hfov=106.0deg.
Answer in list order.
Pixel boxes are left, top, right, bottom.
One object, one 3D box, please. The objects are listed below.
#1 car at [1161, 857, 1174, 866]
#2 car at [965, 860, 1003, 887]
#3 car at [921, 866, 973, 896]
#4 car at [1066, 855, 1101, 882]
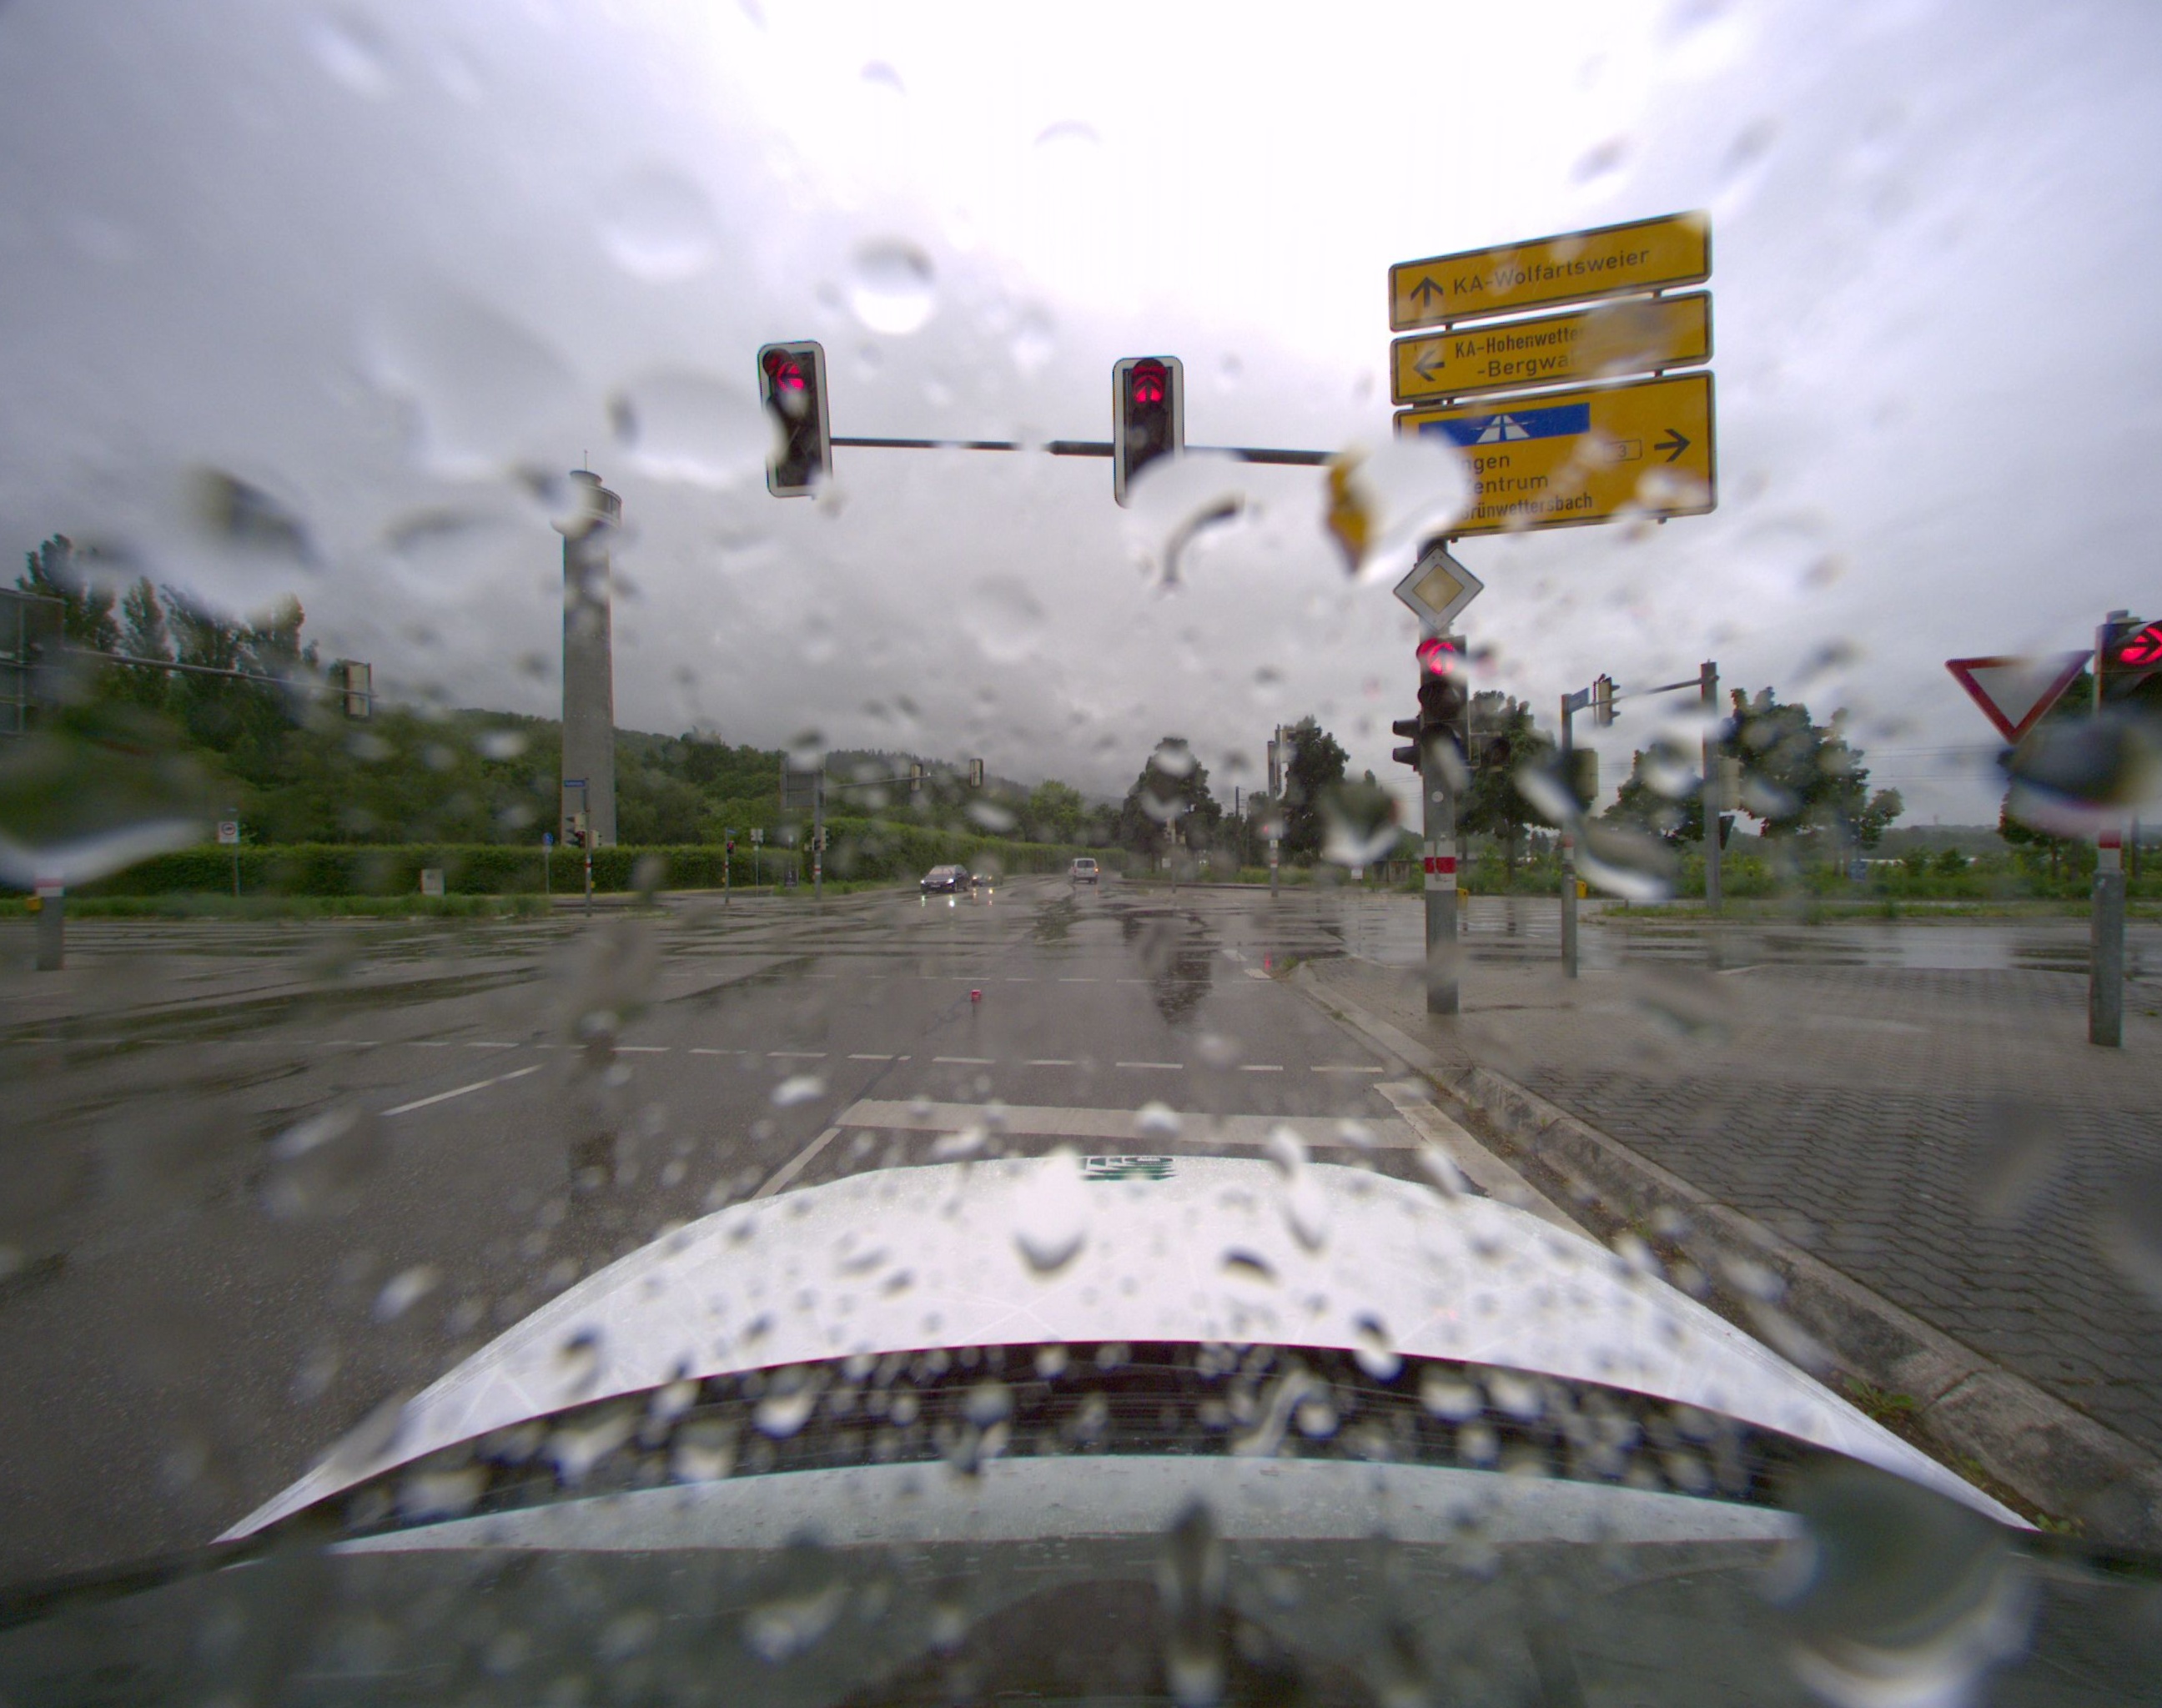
[{"bbox_3d":[18.478,1.576,173.737,1.917,1.890,4.079,-1,0,16],"label":"car"},{"bbox_3d":[-6.674,1.295,56.328,2.029,1.708,4.067,-1,0,2],"label":"car"},{"bbox_3d":[-7.145,1.399,43.845,1.700,1.466,4.459,-1,0,5],"label":"car"},{"bbox_3d":[0.136,1.045,60.262,1.953,1.904,4.107,-1,0,-9],"label":"car"}]
